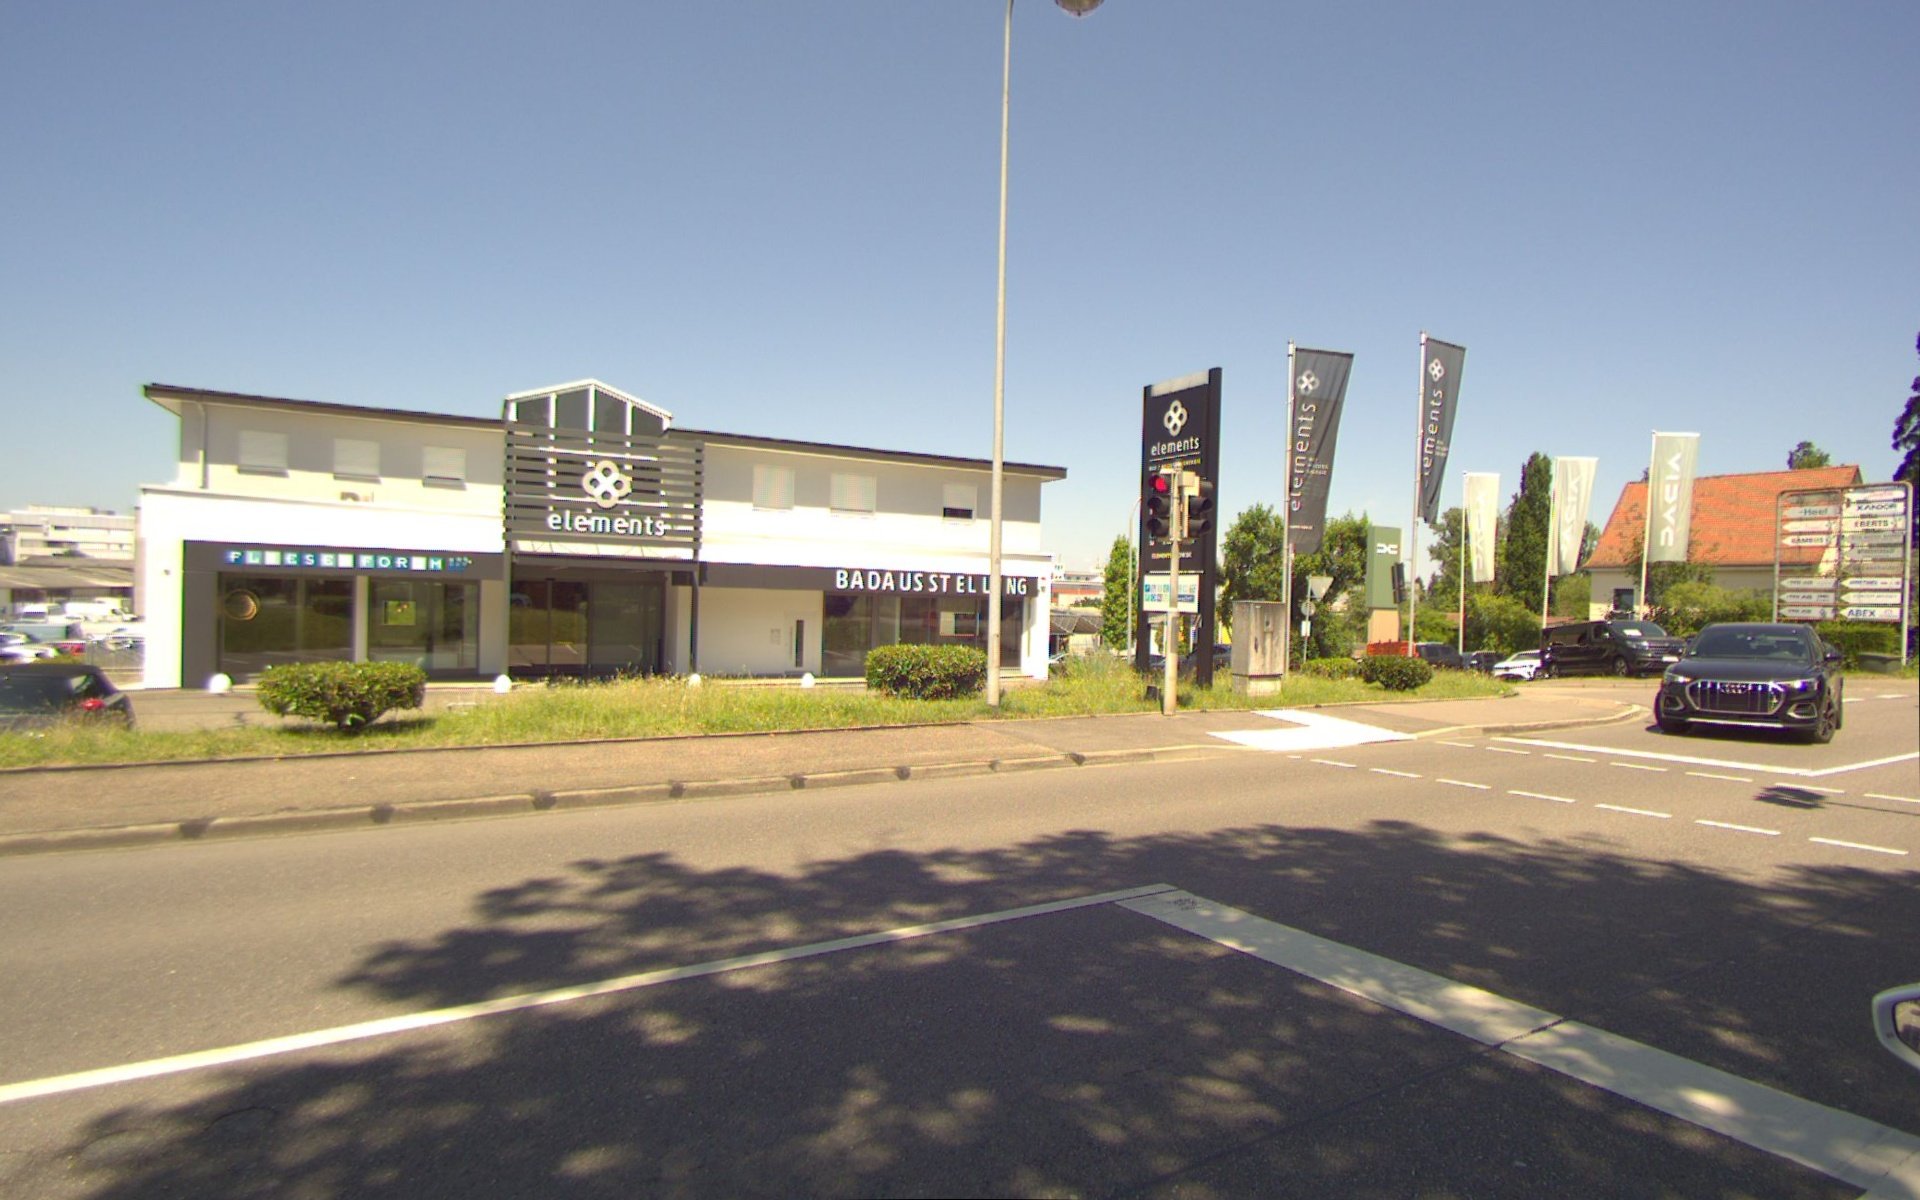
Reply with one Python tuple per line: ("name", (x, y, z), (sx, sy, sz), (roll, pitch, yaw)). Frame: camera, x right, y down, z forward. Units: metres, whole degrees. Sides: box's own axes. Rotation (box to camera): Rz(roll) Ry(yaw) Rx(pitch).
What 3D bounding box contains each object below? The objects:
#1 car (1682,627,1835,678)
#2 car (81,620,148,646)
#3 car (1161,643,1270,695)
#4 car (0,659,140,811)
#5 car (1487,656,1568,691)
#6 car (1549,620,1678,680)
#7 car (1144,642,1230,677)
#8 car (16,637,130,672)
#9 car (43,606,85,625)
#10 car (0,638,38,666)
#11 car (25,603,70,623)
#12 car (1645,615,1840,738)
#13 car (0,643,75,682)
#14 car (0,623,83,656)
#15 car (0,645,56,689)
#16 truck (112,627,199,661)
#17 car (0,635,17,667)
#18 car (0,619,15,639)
("car", (24.745, 1.582, 31.212), (1.586, 1.446, 3.466), (2, -1, -36))
("car", (-55.784, 2.177, 66.349), (3.090, 1.553, 1.672), (2, 0, -30))
("car", (10.125, 2.700, 40.128), (1.862, 1.740, 4.279), (2, 0, -28))
("car", (-11.502, 1.529, 12.092), (1.756, 1.442, 3.327), (1, 0, -26))
("car", (23.667, 3.037, 41.868), (3.211, 1.242, 1.735), (1, 0, -35))
("car", (20.851, 1.562, 32.138), (1.561, 1.736, 3.119), (2, 0, -40))
("car", (10.823, 2.824, 48.154), (1.736, 1.432, 3.967), (2, 0, -30))
("car", (-44.842, 2.770, 50.886), (3.953, 1.657, 1.835), (2, -1, -30))
("car", (-84.937, 1.462, 95.220), (1.975, 1.617, 3.972), (2, 0, -27))
("car", (-54.773, 2.901, 56.502), (3.953, 1.494, 1.742), (2, 0, -30))
("car", (-89.918, 1.283, 99.019), (1.972, 1.853, 3.977), (2, 0, -23))
("car", (11.669, 1.067, 14.877), (1.902, 1.546, 4.283), (-1, -3, 43))
("car", (-41.978, 2.772, 44.810), (3.427, 1.613, 1.712), (2, 0, -30))
("car", (-54.869, 2.326, 59.591), (3.953, 1.839, 1.984), (2, -1, -30))
("car", (-40.950, 2.822, 42.414), (3.773, 1.750, 1.738), (2, 0, -30))
("truck", (-49.625, 2.717, 62.034), (3.938, 2.003, 1.672), (2, 0, -31))
("car", (-52.477, 2.668, 52.759), (3.953, 1.627, 1.823), (2, 0, -30))
("car", (-73.555, 2.159, 75.684), (3.090, 1.403, 1.672), (2, 0, -30))
